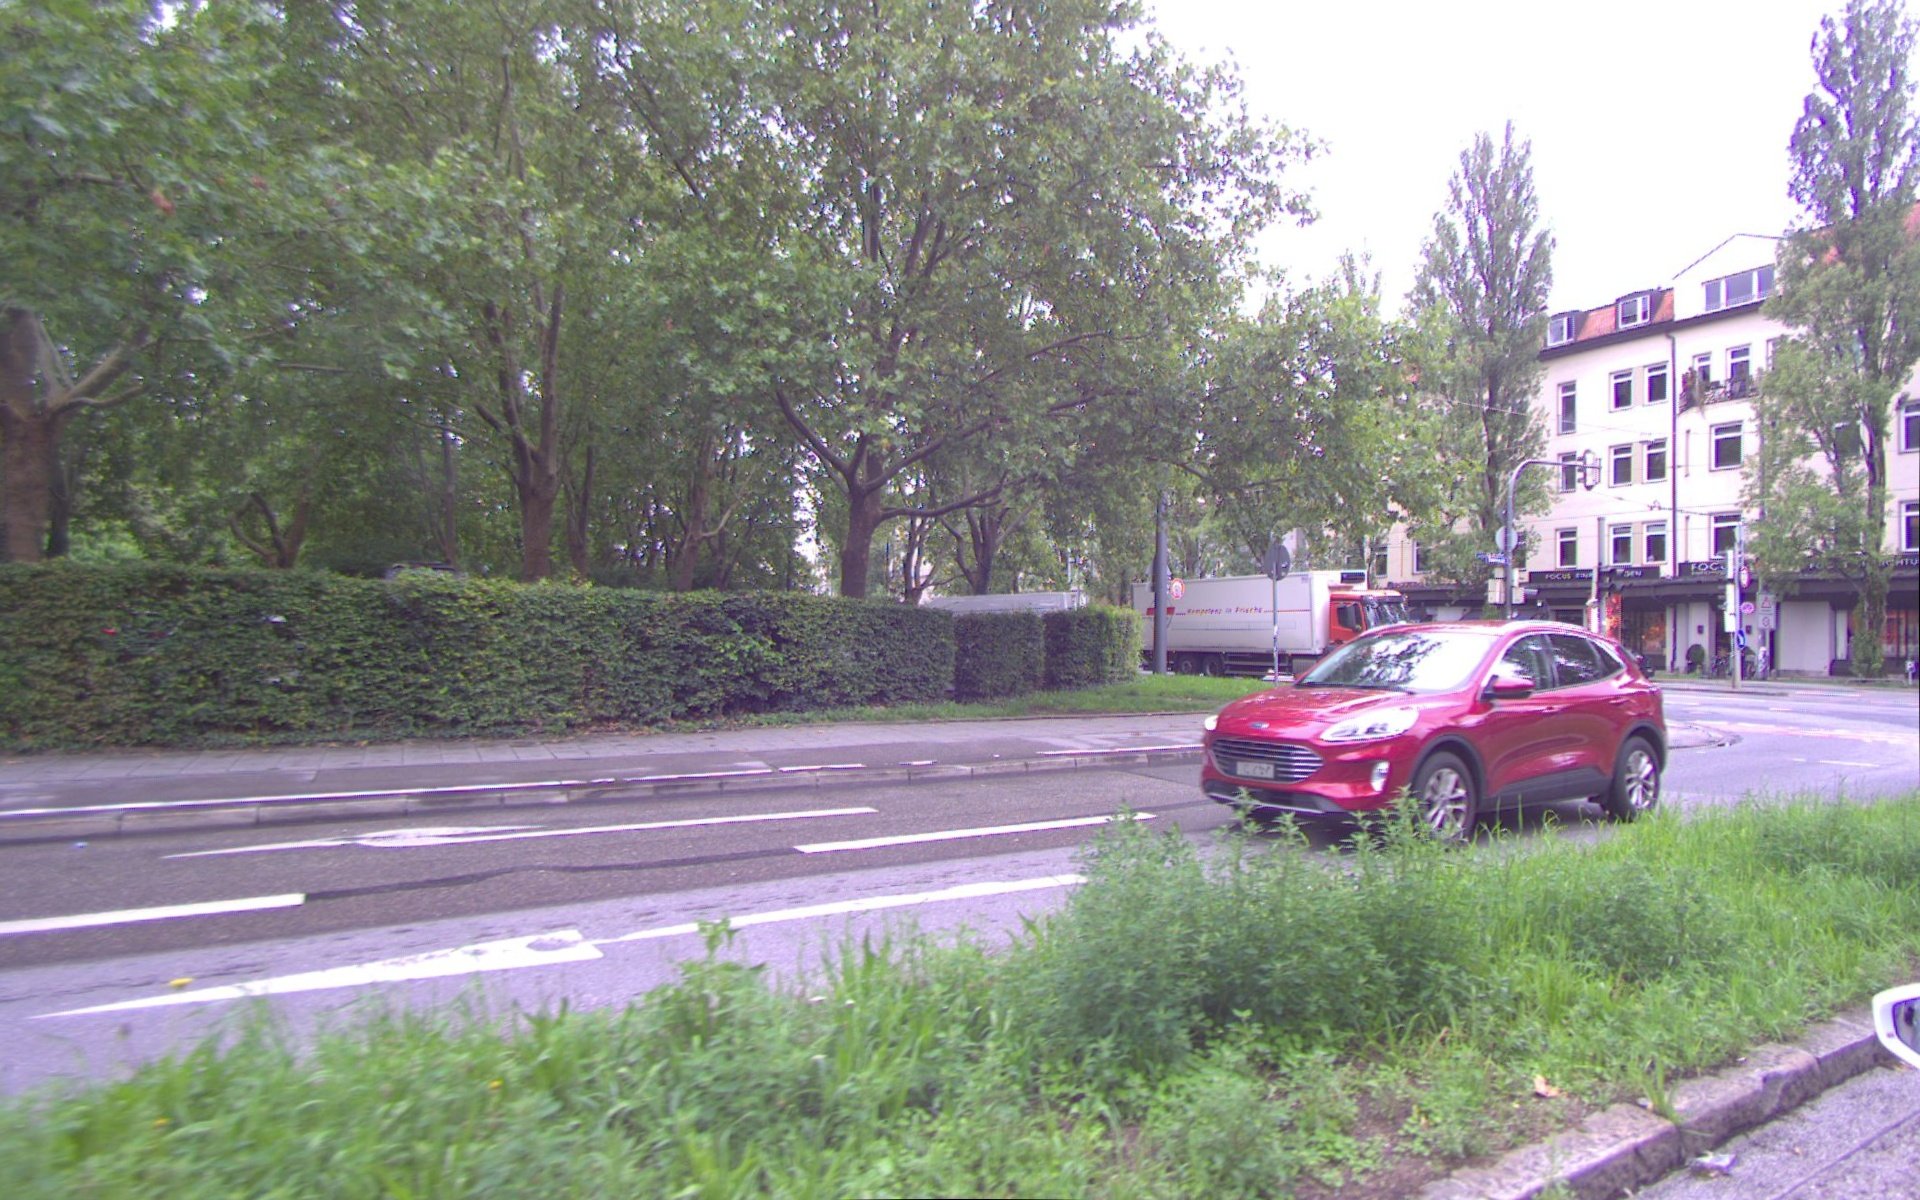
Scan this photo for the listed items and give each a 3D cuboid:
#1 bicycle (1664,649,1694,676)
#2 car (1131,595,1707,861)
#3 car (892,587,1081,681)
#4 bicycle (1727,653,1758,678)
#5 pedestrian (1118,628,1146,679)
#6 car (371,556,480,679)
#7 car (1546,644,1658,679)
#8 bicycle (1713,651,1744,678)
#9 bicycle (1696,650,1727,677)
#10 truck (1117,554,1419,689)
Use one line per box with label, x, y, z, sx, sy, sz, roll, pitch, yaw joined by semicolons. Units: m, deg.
bicycle;33.549;2.911;46.875;1.869;1.200;0.492;2;-2;-33
car;3.986;0.861;8.475;4.884;1.659;2.092;1;-2;-32
car;0.747;0.893;26.247;4.535;2.039;2.001;-4;-2;12
bicycle;34.764;2.912;44.608;1.869;1.096;0.492;2;-2;-33
pedestrian;5.813;1.795;34.002;0.681;1.685;0.653;2;-2;-42
car;-12.692;0.388;24.117;1.974;2.568;5.824;3;-1;-26
car;29.249;2.778;45.860;1.786;1.485;3.964;3;-3;-33
bicycle;34.467;2.898;45.040;1.869;1.200;0.492;2;-2;-33
bicycle;34.195;2.895;45.689;1.869;1.200;0.492;2;-2;-33
truck;10.319;0.807;35.796;2.715;4.033;11.625;0;-2;-29
